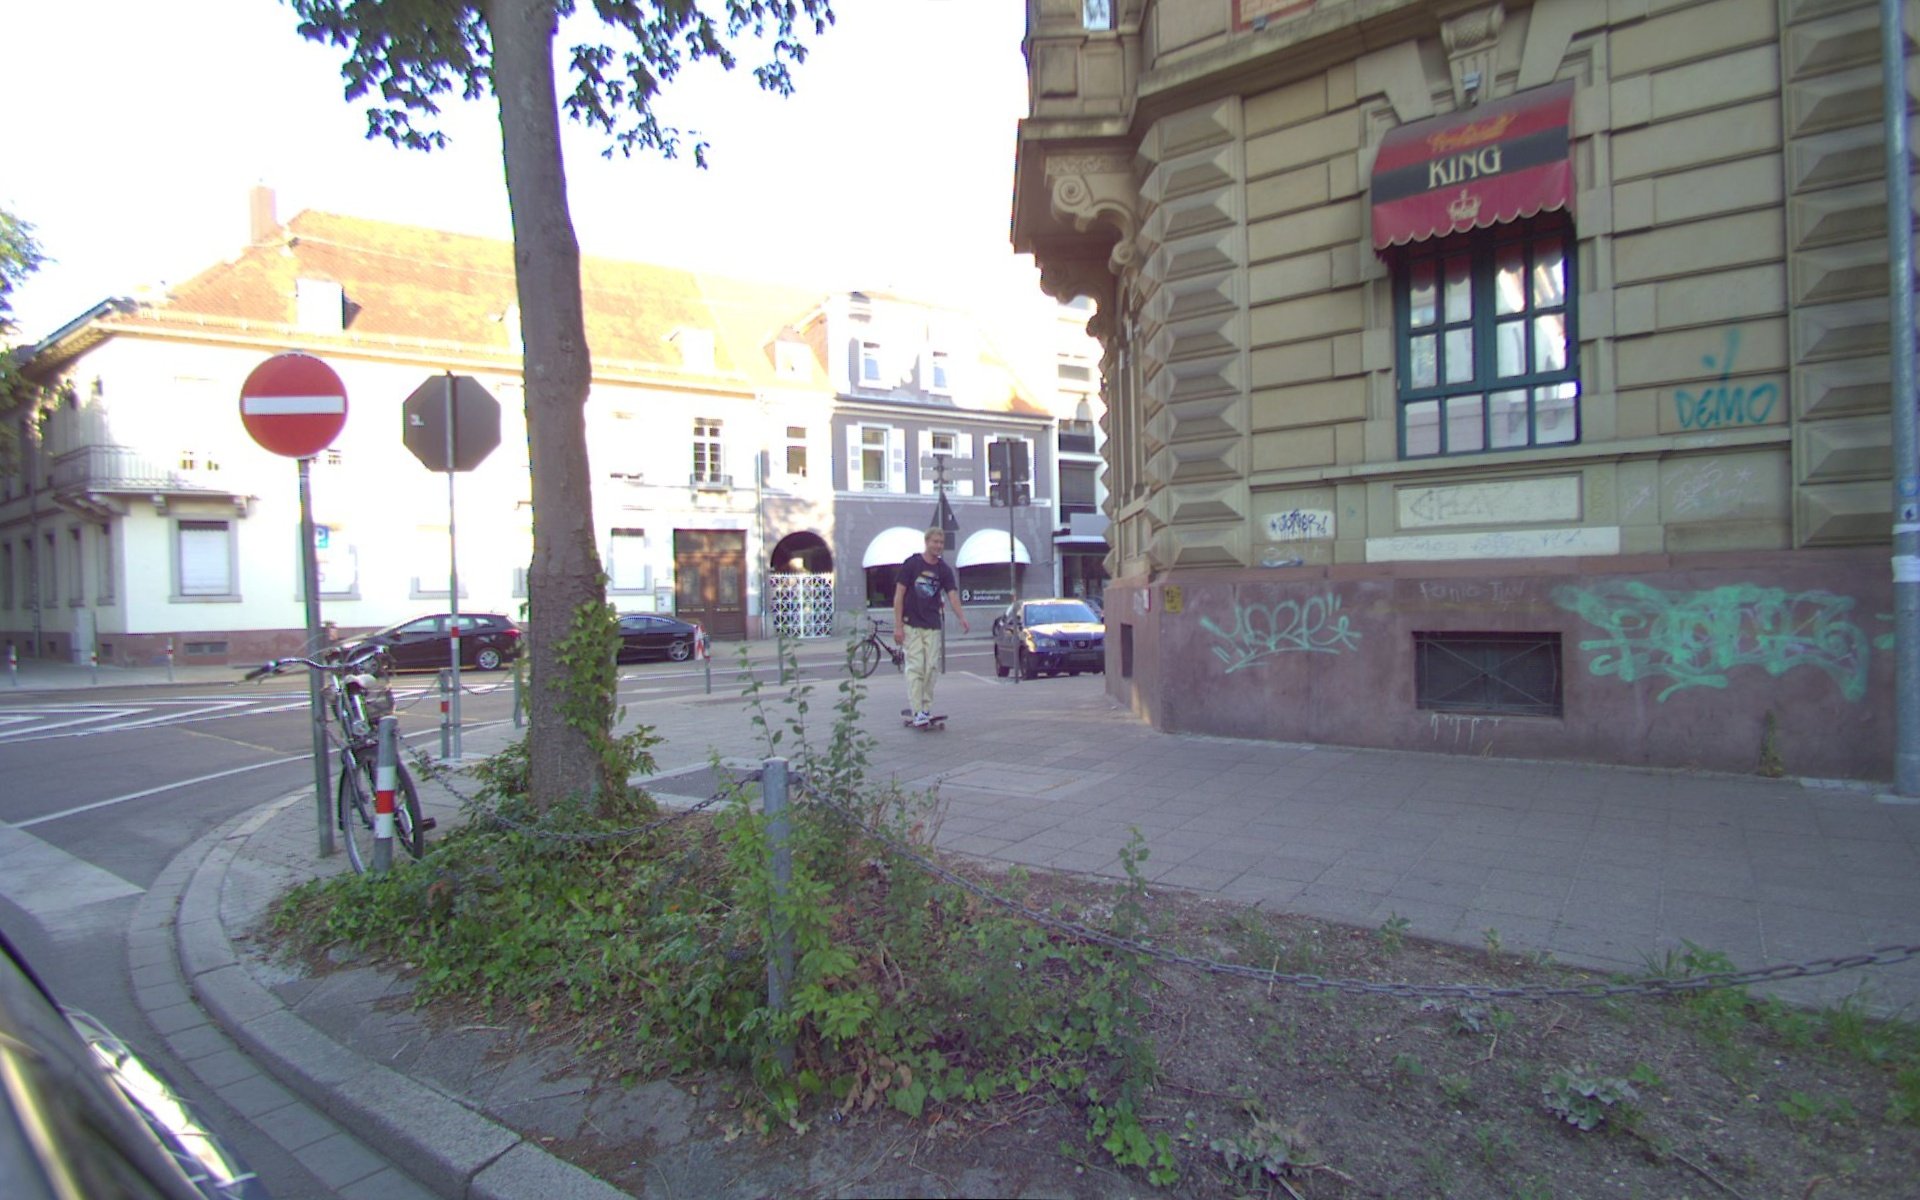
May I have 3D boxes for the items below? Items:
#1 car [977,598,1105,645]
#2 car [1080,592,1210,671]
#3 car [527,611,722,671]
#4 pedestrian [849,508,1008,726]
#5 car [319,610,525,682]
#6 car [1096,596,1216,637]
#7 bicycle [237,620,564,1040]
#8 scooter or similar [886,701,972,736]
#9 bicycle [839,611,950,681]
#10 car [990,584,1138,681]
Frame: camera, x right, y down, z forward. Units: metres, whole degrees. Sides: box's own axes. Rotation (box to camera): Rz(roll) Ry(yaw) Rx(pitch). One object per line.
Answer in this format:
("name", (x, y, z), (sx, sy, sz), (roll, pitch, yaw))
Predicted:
("car", (2.831, 0.721, 35.245), (4.177, 1.458, 1.753), (-1, 0, -31))
("car", (3.987, 0.711, 22.583), (1.742, 1.523, 4.632), (-2, -2, -3))
("car", (-9.116, 1.079, 27.594), (4.774, 1.405, 1.784), (-1, -1, -30))
("pedestrian", (-0.305, 0.138, 8.893), (0.836, 1.752, 1.270), (-3, -1, -27))
("car", (-13.285, 1.089, 25.115), (4.355, 1.553, 1.813), (-1, -1, -31))
("car", (7.412, 0.617, 38.212), (4.425, 1.398, 1.753), (-1, 0, -32))
("bicycle", (-2.554, 0.742, 4.397), (0.832, 1.277, 2.577), (0, -1, -38))
("scooter or similar", (-0.285, 1.034, 8.898), (0.411, 0.208, 0.885), (-2, -1, -27))
("bicycle", (-1.171, 0.813, 18.001), (1.772, 1.134, 0.730), (-2, -3, -22))
("car", (1.687, 0.613, 17.772), (1.713, 1.472, 3.868), (-2, -3, -7))
